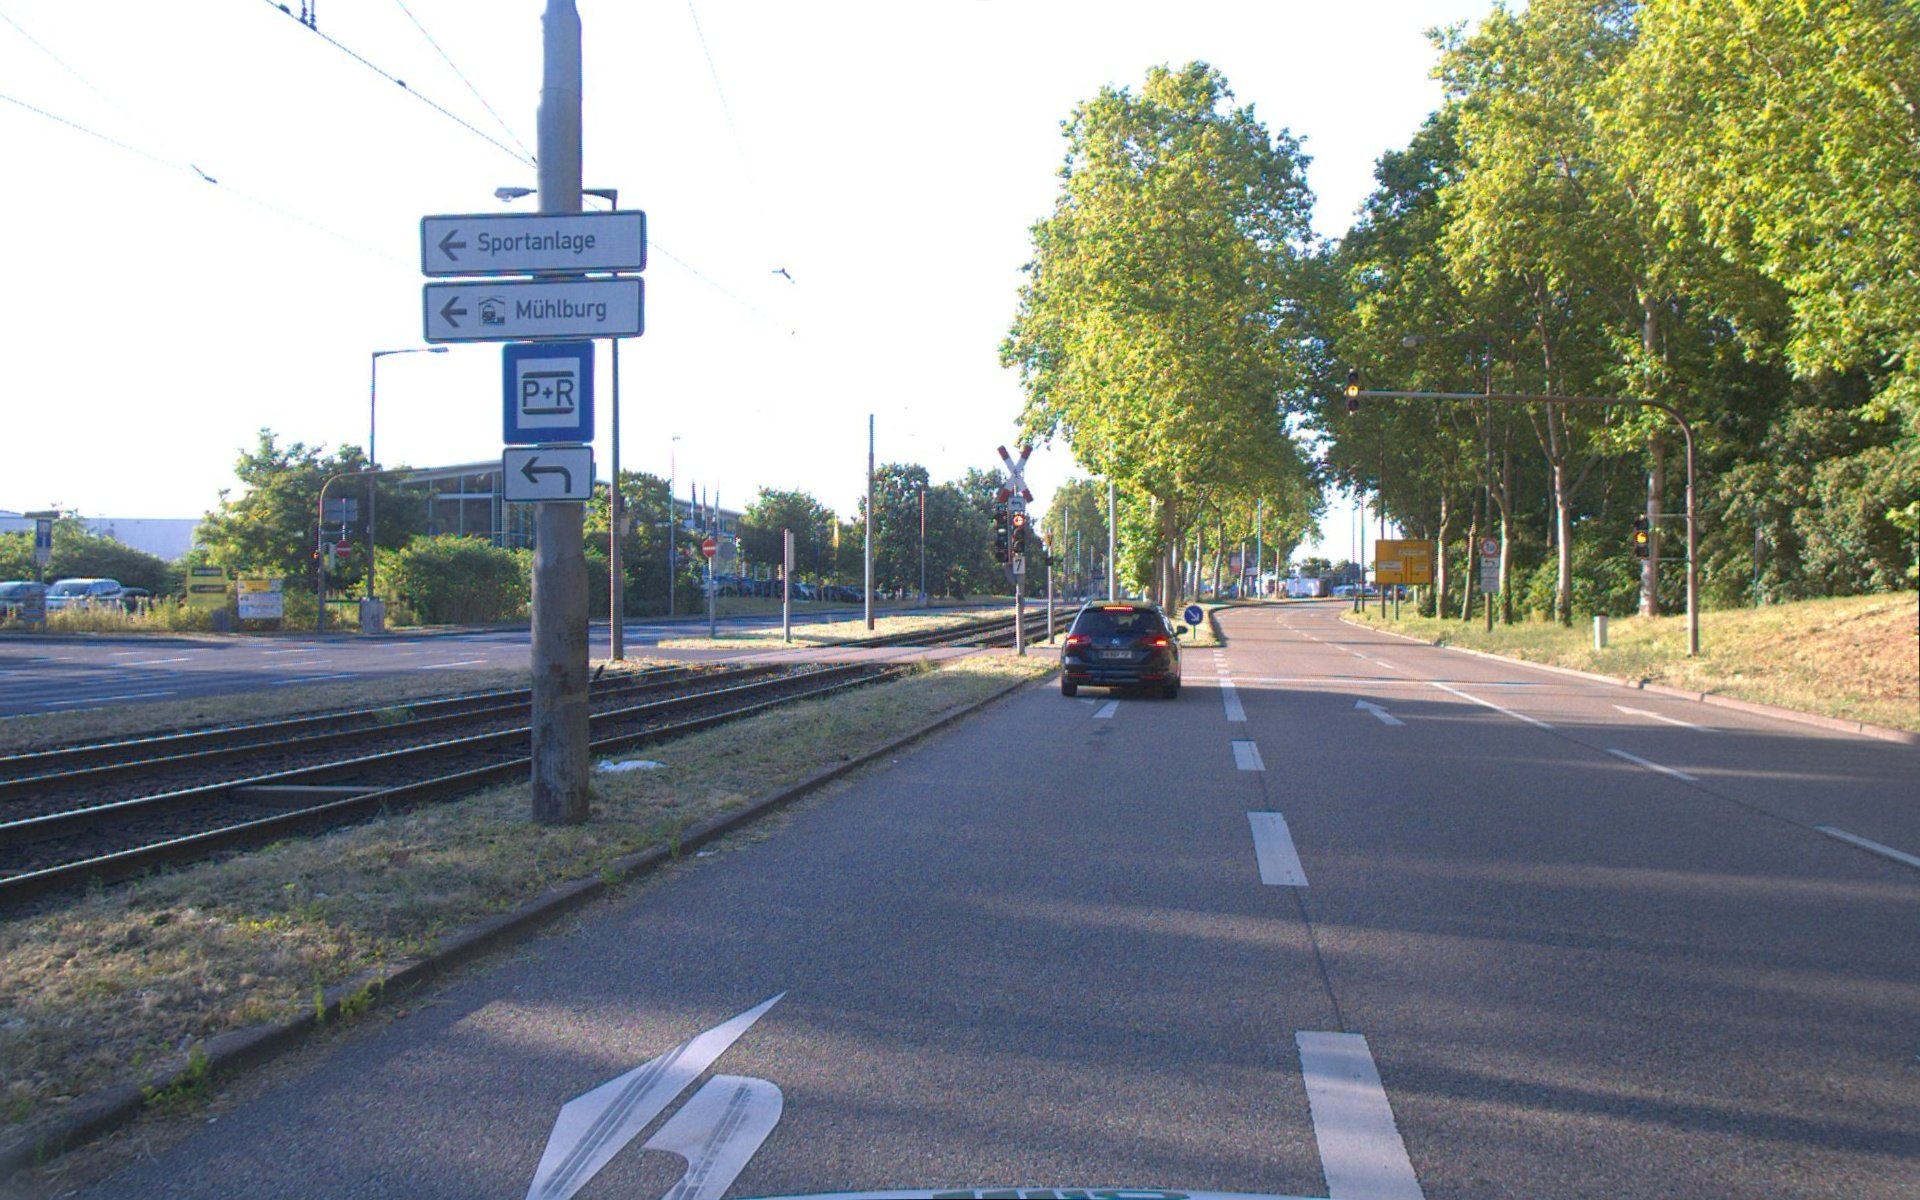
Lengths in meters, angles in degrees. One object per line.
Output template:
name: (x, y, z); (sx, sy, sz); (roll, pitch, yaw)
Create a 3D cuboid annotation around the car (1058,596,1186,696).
car: (2.616, 0.675, 26.062); (1.754, 1.427, 3.692); (1, 0, 9)

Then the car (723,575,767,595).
car: (-16.652, -1.174, 128.207); (3.076, 1.516, 1.456); (1, 0, 5)

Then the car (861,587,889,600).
car: (-9.800, -0.742, 190.681); (3.076, 1.516, 1.456); (1, 0, 5)

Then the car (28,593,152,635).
car: (-31.207, 0.481, 59.439); (1.802, 1.467, 4.003); (1, 0, 11)

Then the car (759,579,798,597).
car: (-15.577, -0.992, 142.144); (3.076, 1.516, 1.456); (1, 0, 5)

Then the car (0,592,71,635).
car: (-34.385, 0.469, 59.821); (1.802, 1.467, 4.003); (1, 0, 11)

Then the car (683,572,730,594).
car: (-18.540, -1.230, 121.078); (3.076, 1.516, 1.456); (1, 0, 5)

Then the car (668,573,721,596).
car: (-17.015, -1.014, 105.896); (3.076, 1.416, 1.456); (1, 0, 5)

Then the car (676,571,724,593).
car: (-18.426, -1.294, 117.206); (3.076, 1.516, 1.456); (1, 0, 5)

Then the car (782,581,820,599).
car: (-13.920, -0.878, 144.953); (3.076, 1.516, 1.456); (1, 0, 5)

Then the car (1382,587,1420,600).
car: (48.693, -0.732, 182.672); (3.603, 1.427, 1.797); (0, 0, -3)

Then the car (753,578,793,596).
car: (-15.701, -1.101, 138.815); (3.076, 1.516, 1.456); (1, 0, 5)
